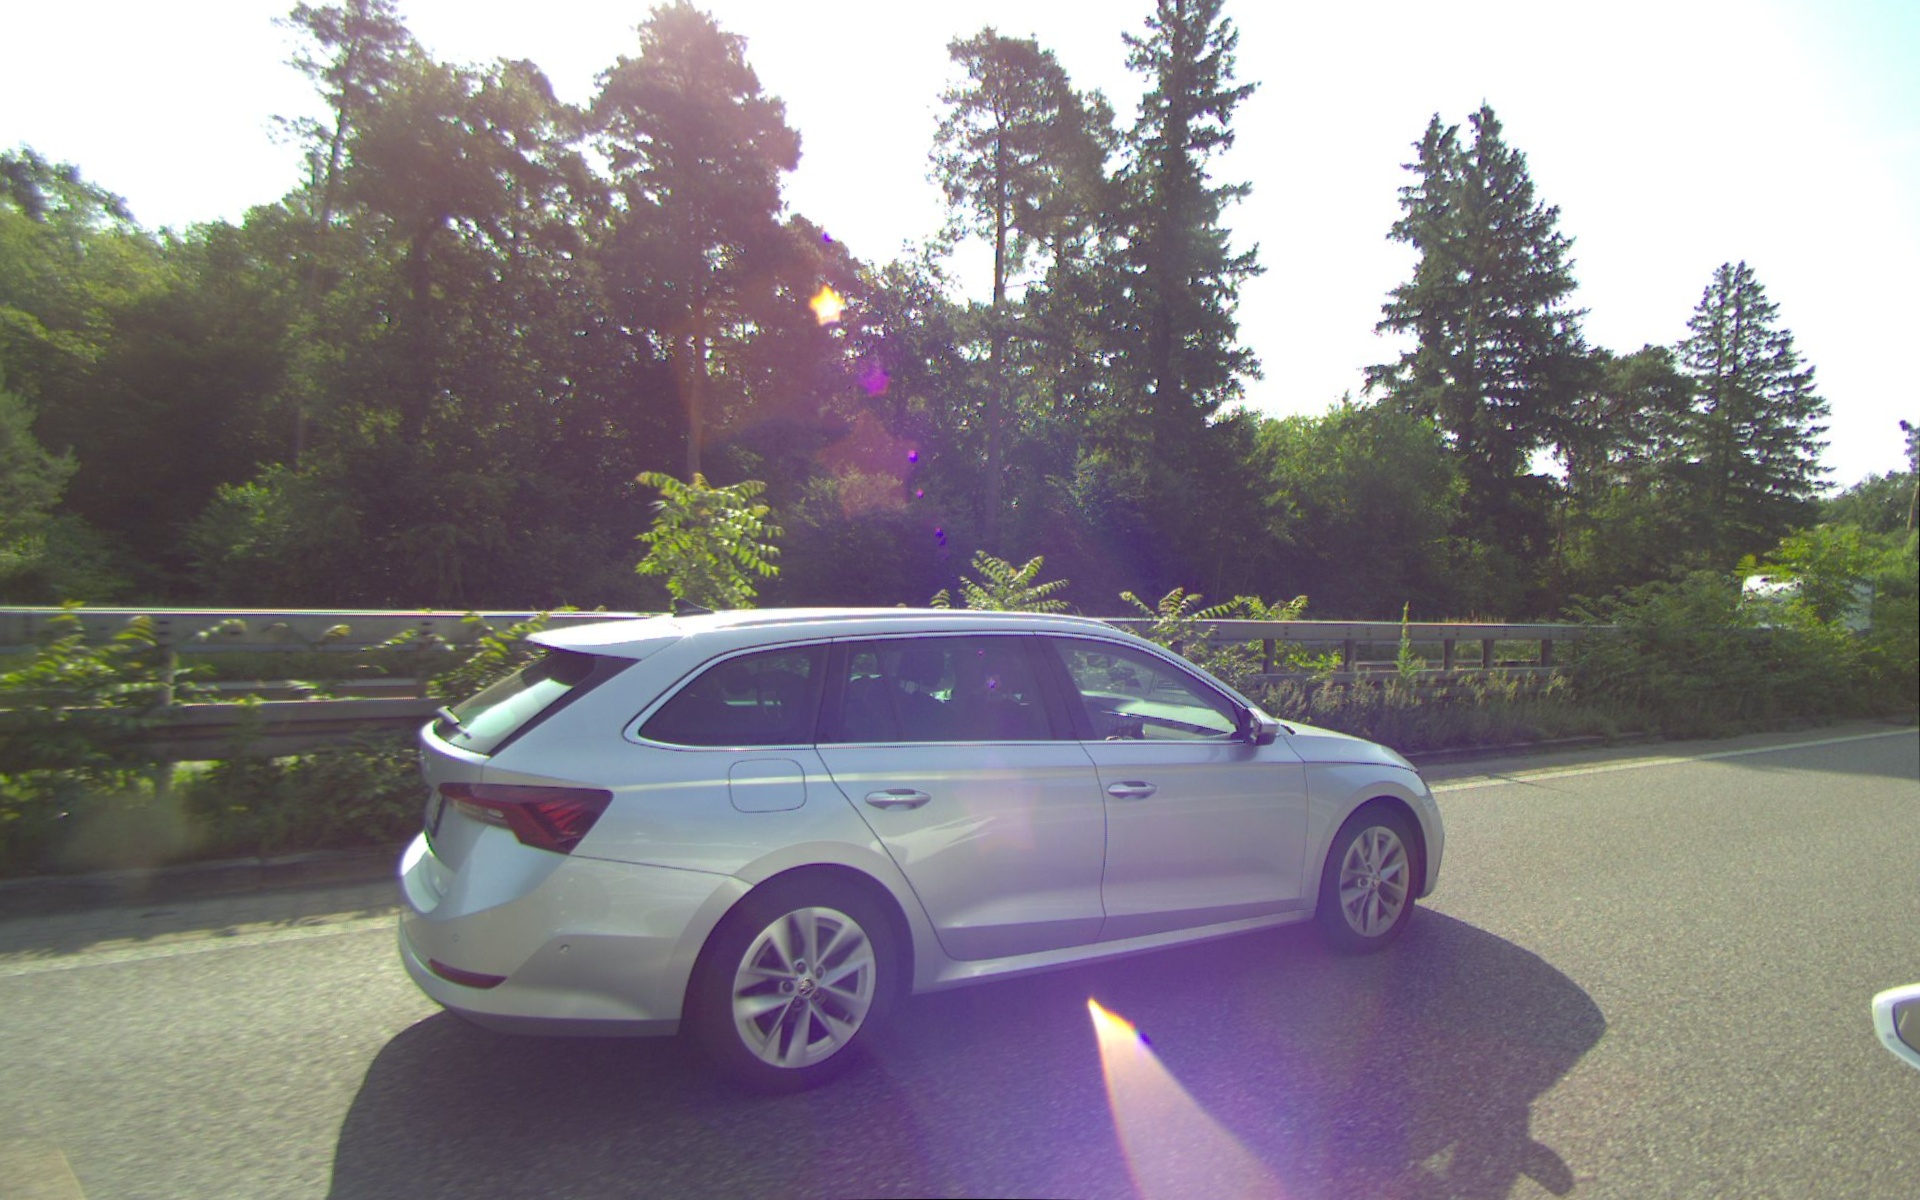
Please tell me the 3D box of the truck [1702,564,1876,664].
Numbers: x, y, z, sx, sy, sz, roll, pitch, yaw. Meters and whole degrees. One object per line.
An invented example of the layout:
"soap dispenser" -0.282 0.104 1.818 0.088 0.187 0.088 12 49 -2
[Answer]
"truck" 29.084 0.545 35.158 7.145 3.218 2.450 1 -1 -31

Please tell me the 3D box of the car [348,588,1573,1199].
"car" 0.374 0.744 4.473 5.216 1.457 1.784 1 -1 -30
